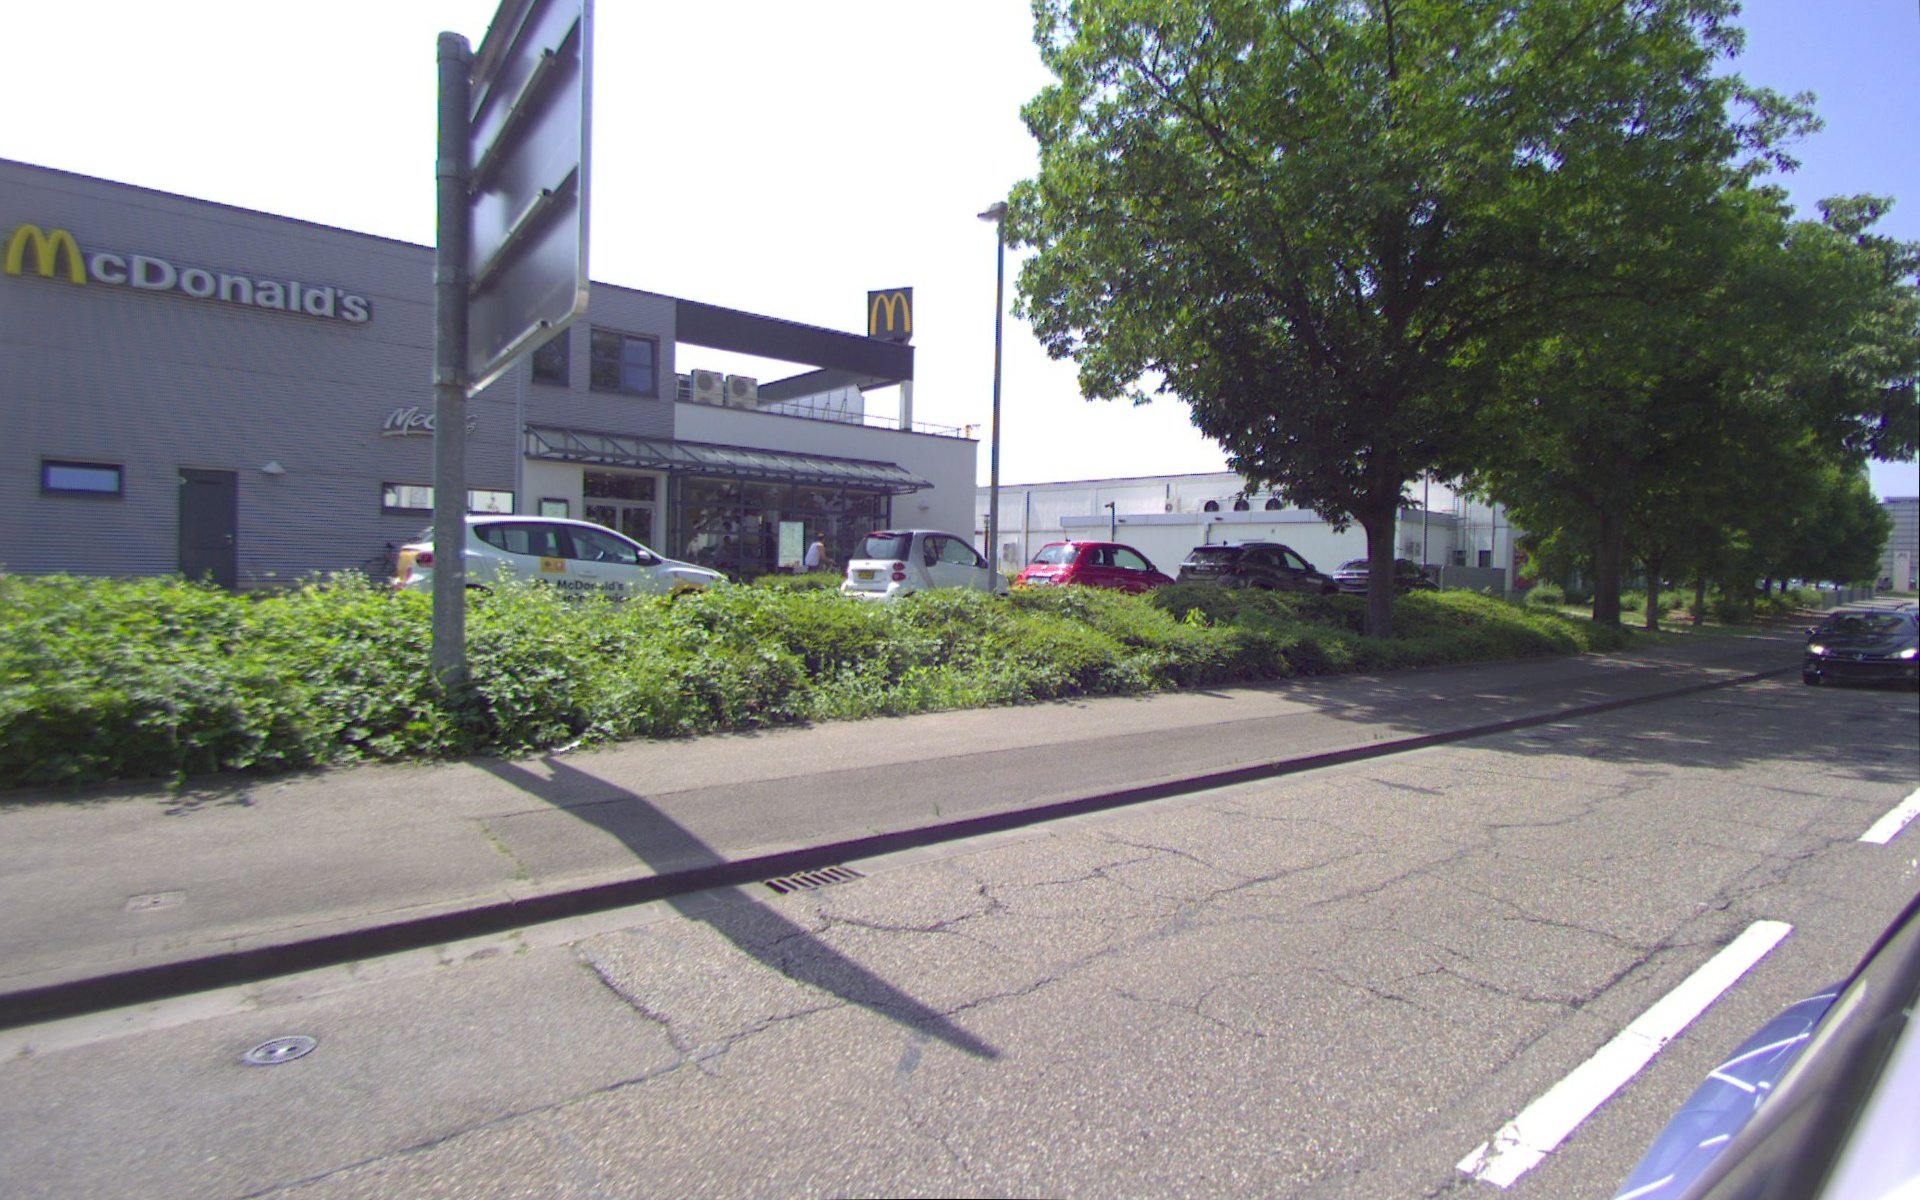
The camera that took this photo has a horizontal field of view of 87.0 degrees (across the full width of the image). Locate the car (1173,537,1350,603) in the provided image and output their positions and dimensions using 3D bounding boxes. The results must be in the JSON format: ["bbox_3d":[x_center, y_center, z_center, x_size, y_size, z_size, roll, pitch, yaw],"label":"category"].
[{"bbox_3d":[6.531,-0.615,21.734,4.124,1.269,1.622,-1,0,-40],"label":"car"}]

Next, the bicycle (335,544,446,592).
[{"bbox_3d":[-12.559,-0.694,22.341,2.064,0.992,0.590,0,2,-39],"label":"bicycle"}]

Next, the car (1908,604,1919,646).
[{"bbox_3d":[32.572,0.814,33.475,1.708,1.340,3.892,1,1,44],"label":"car"}]

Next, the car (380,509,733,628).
[{"bbox_3d":[-4.919,-0.372,12.553,3.794,1.268,1.624,-1,1,-37],"label":"car"}]

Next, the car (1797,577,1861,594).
[{"bbox_3d":[84.657,-1.383,98.608,1.670,1.523,4.580,0,2,-44],"label":"car"}]

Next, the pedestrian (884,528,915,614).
[{"bbox_3d":[-1.396,-0.672,23.449,0.401,1.945,0.583,1,2,-40],"label":"pedestrian"}]

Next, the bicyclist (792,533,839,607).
[{"bbox_3d":[-3.677,-0.756,25.709,0.849,1.826,0.779,0,2,-42],"label":"bicyclist"}]

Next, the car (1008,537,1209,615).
[{"bbox_3d":[2.756,-0.426,18.381,3.698,1.268,1.622,-1,1,-41],"label":"car"}]

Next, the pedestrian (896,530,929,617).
[{"bbox_3d":[-1.076,-0.611,22.975,0.525,1.945,0.467,1,2,-40],"label":"pedestrian"}]

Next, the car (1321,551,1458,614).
[{"bbox_3d":[11.333,-0.467,26.474,1.902,1.469,5.524,1,1,39],"label":"car"}]

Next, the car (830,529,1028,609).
[{"bbox_3d":[-0.452,-0.469,15.858,2.807,1.136,1.510,-1,1,-42],"label":"car"}]

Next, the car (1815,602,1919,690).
[{"bbox_3d":[16.836,0.773,18.451,1.638,1.373,3.443,1,1,45],"label":"car"}]

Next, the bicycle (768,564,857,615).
[{"bbox_3d":[-3.730,-0.262,25.661,2.204,1.240,0.692,0,2,-42],"label":"bicycle"}]
